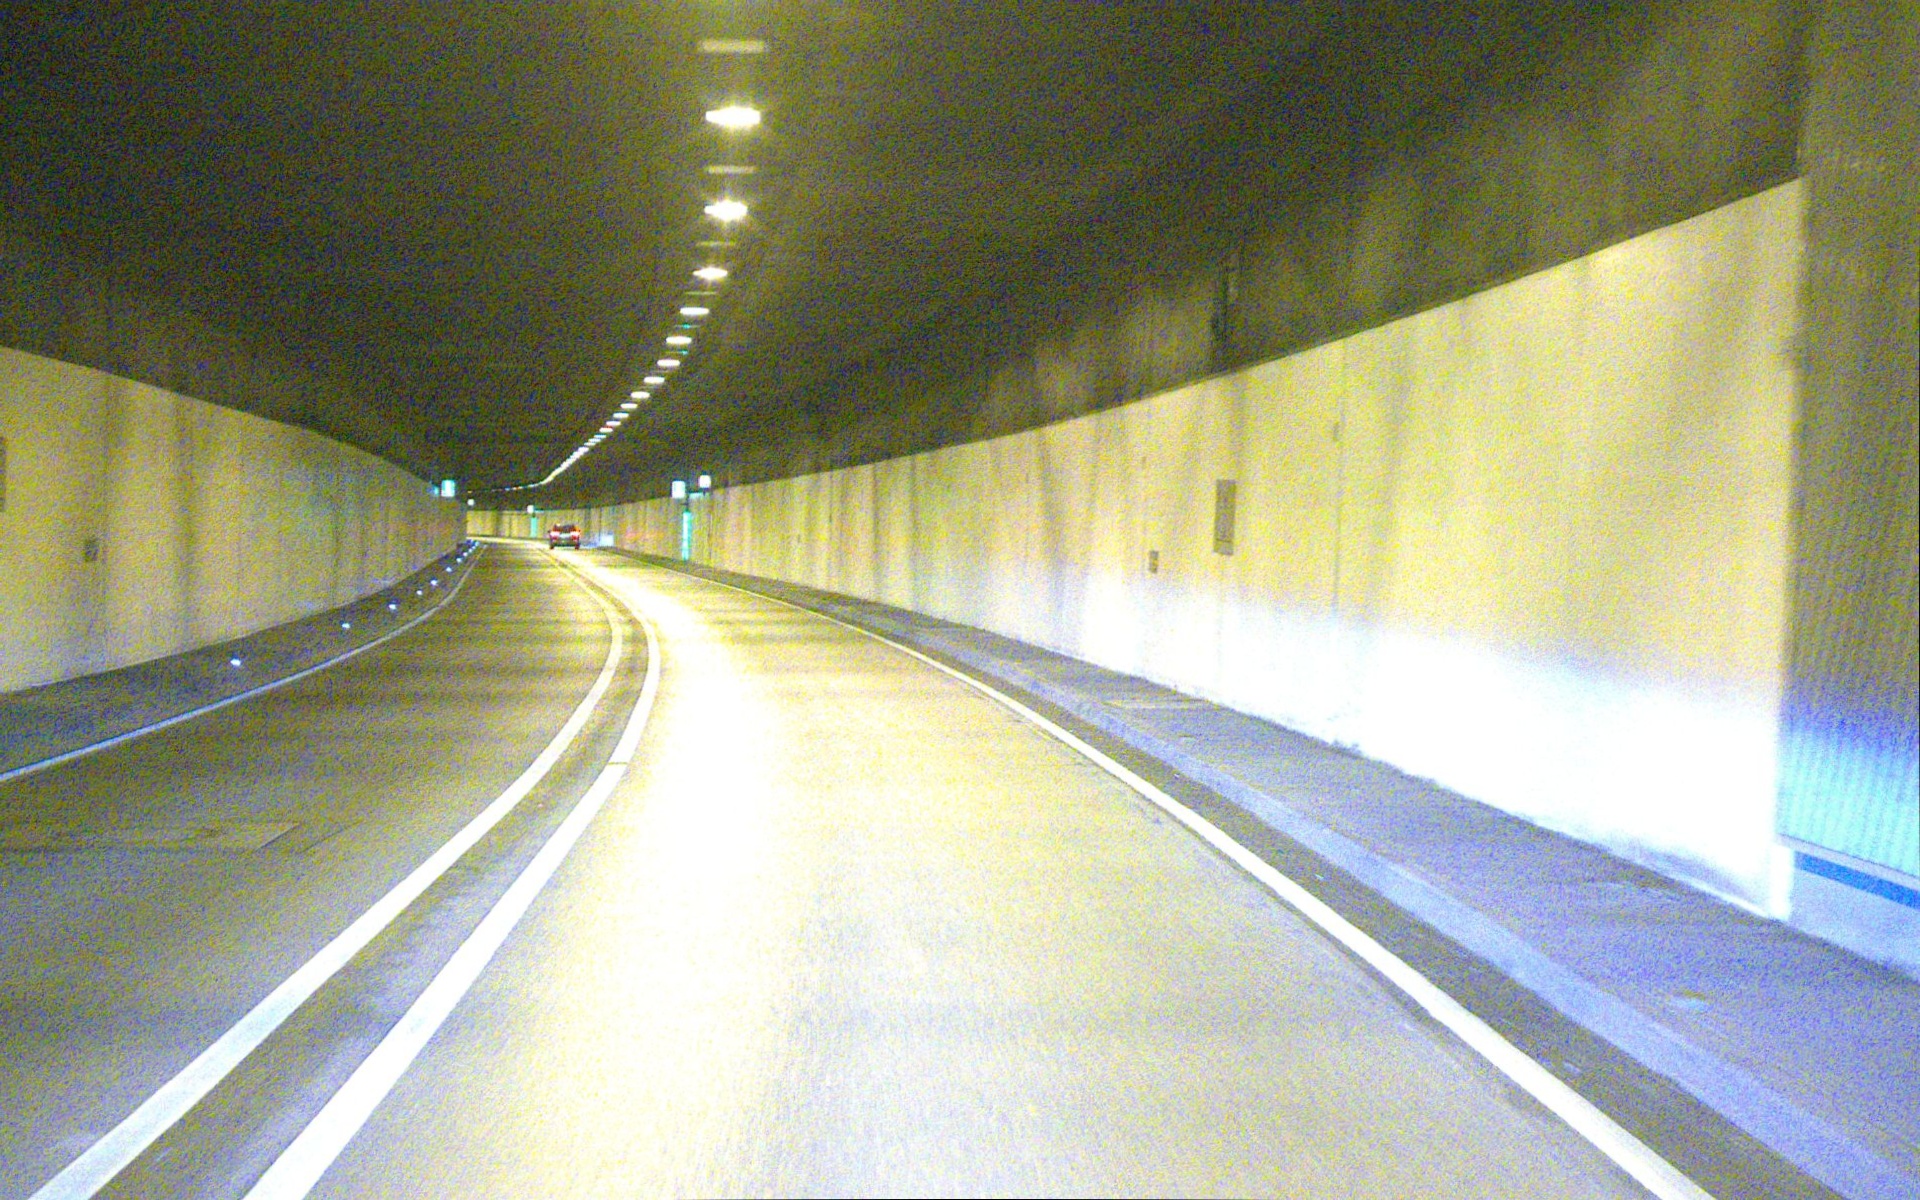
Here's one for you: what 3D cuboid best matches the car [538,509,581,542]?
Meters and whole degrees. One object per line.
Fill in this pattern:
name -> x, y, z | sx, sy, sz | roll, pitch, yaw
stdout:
car -> -24.878, -4.640, 213.488 | 1.966, 1.932, 4.614 | 2, 0, -14
